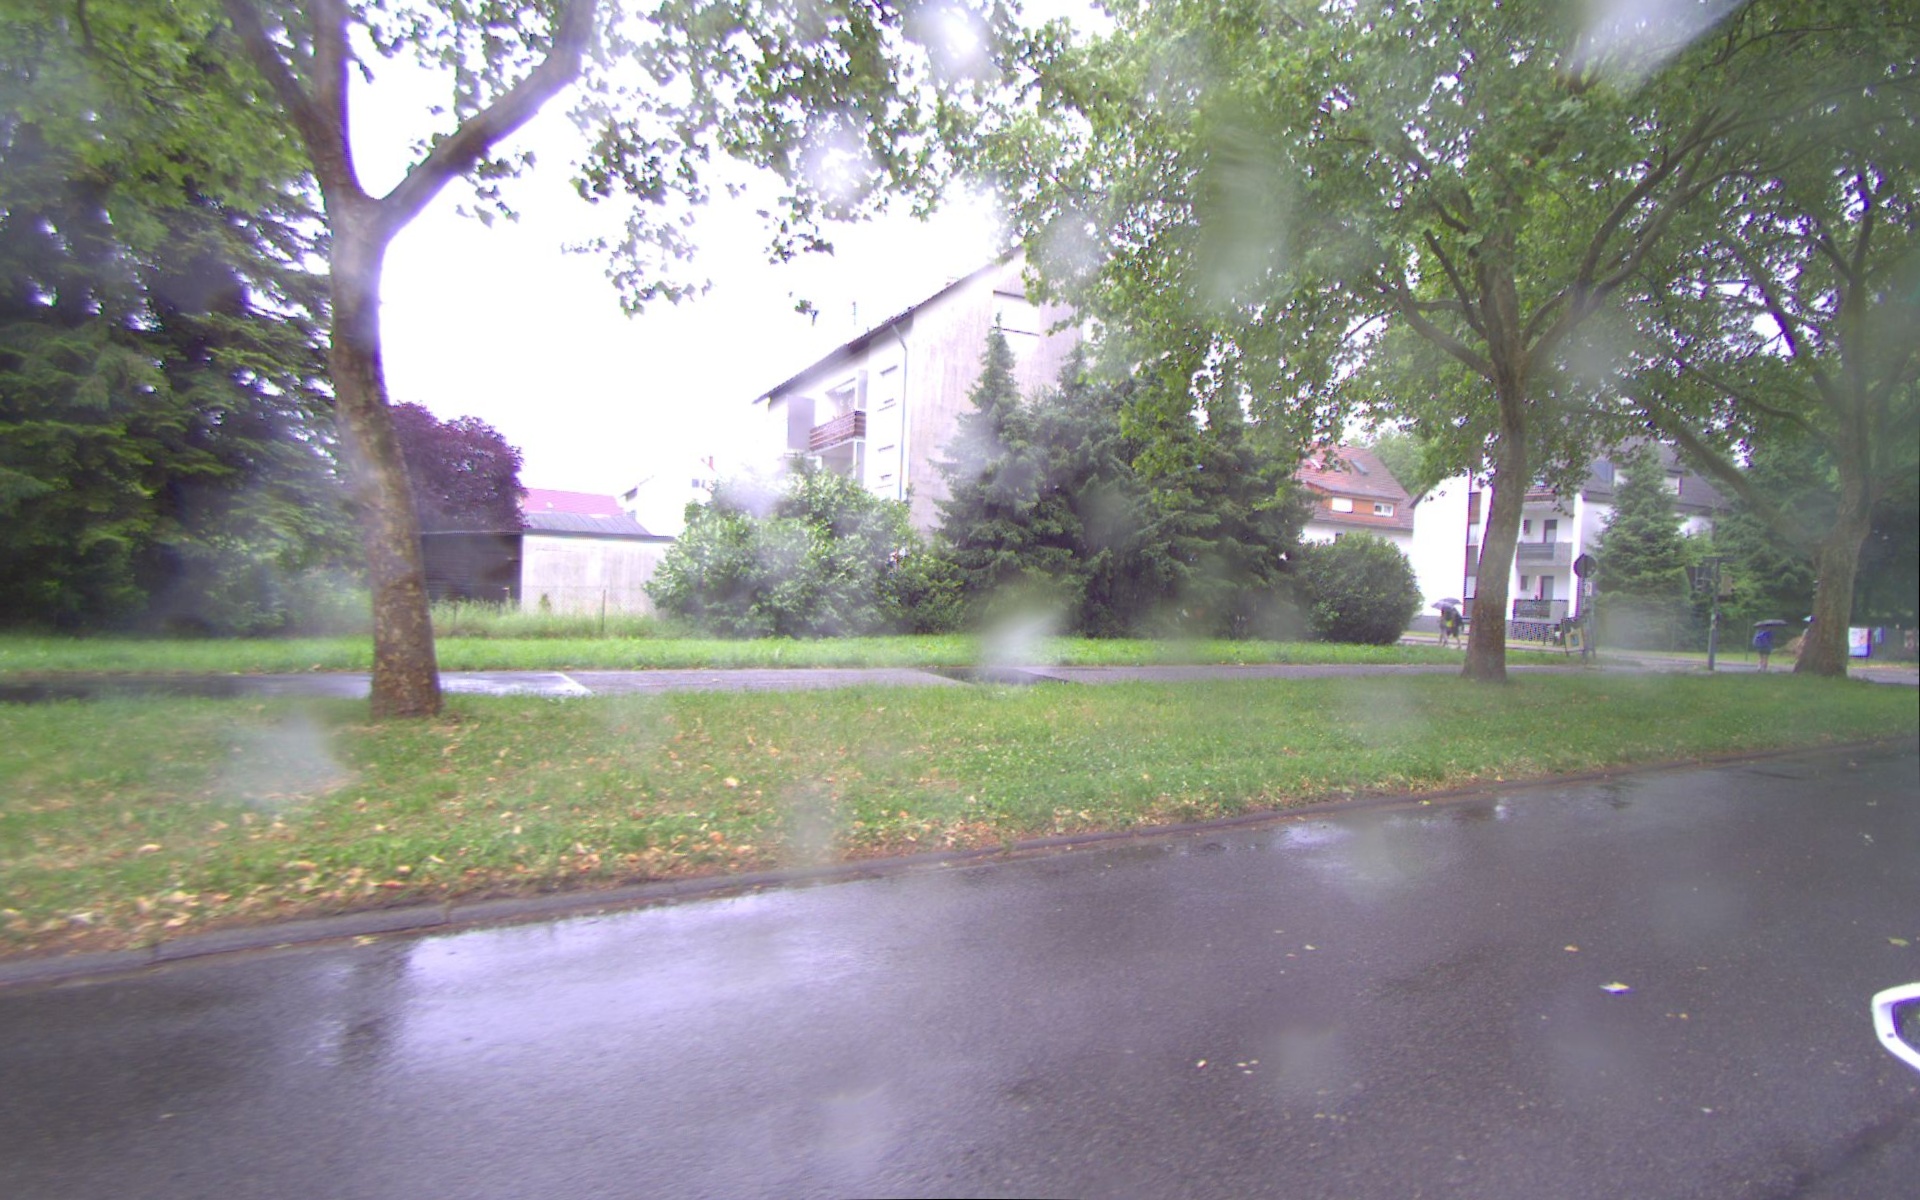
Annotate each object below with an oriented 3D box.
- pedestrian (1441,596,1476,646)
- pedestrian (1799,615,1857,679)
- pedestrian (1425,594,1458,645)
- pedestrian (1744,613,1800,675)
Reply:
[{"bbox_3d":[17.933,0.747,36.145,0.633,1.768,0.854,2,1,-33],"label":"pedestrian"},{"bbox_3d":[25.187,1.348,29.144,0.828,1.789,1.028,1,0,-30],"label":"pedestrian"},{"bbox_3d":[17.180,0.688,35.839,0.633,1.768,0.815,2,1,-33],"label":"pedestrian"},{"bbox_3d":[24.246,1.308,30.008,0.869,1.789,1.028,1,0,-30],"label":"pedestrian"}]
